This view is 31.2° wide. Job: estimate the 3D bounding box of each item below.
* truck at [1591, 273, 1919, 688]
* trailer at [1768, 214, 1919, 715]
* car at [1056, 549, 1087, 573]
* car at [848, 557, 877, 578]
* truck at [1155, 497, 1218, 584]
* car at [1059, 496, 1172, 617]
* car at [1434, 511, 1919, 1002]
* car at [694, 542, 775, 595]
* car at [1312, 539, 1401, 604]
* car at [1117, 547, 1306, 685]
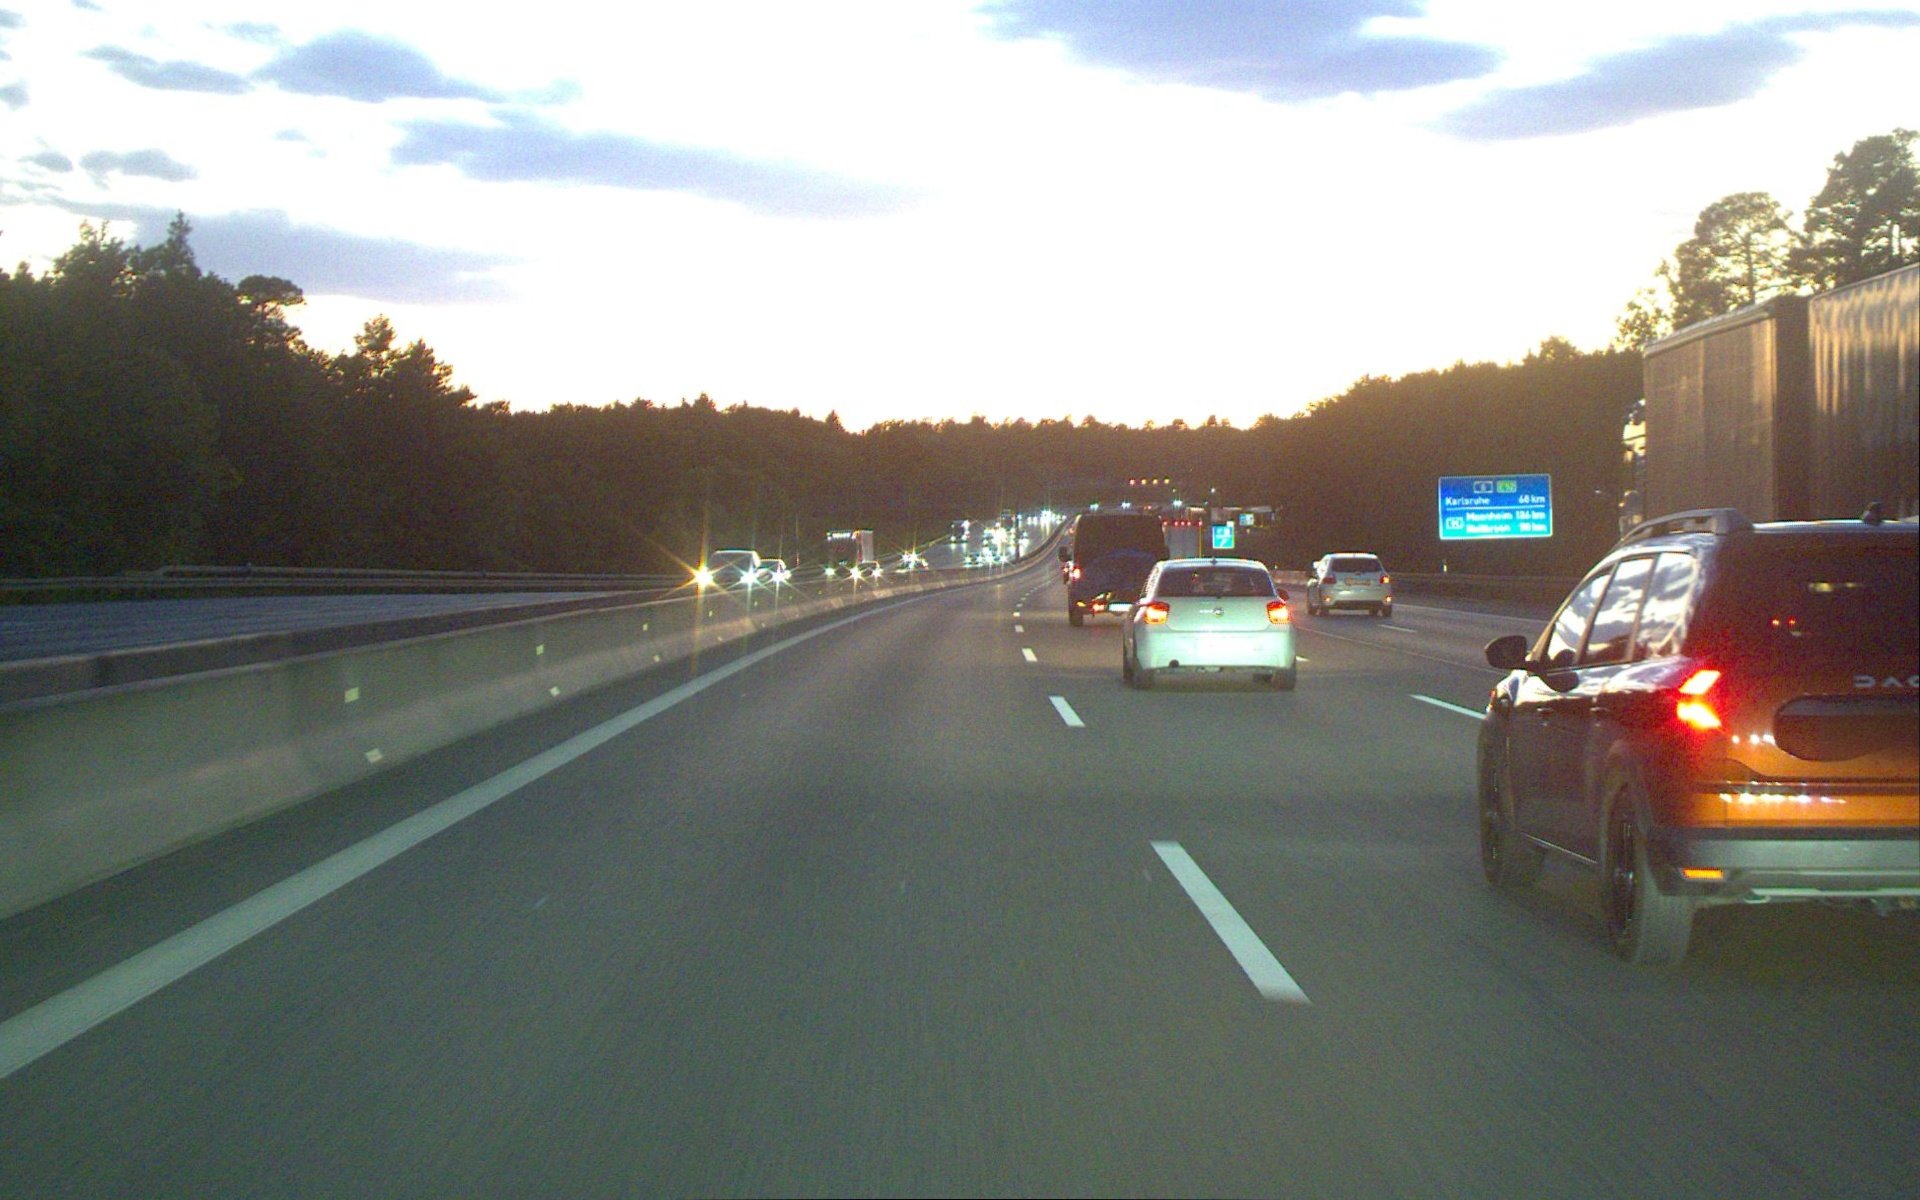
[{"bbox_3d":[9.540,-1.236,39.315,2.885,4.086,10.831,0,1,1],"label":"truck"},{"bbox_3d":[9.307,-1.114,28.700,2.907,4.086,10.357,0,1,1],"label":"trailer"},{"bbox_3d":[7.336,-2.574,226.308,1.837,1.565,3.999,0,1,4],"label":"car"},{"bbox_3d":[-6.662,-2.248,235.616,1.776,1.396,4.939,0,1,1],"label":"car"},{"bbox_3d":[15.806,-4.104,240.806,4.149,5.836,14.295,0,1,3],"label":"truck"},{"bbox_3d":[3.293,-0.906,71.729,2.166,2.410,5.563,0,1,4],"label":"car"},{"bbox_3d":[3.228,0.459,14.000,1.903,1.638,5.052,0,1,0],"label":"car"},{"bbox_3d":[-7.224,-1.023,110.481,1.994,1.633,5.111,1,1,3],"label":"car"},{"bbox_3d":[9.658,-0.699,83.955,2.008,1.533,3.999,0,1,4],"label":"car"},{"bbox_3d":[2.753,0.144,38.384,1.859,1.437,3.720,0,1,0],"label":"car"}]
